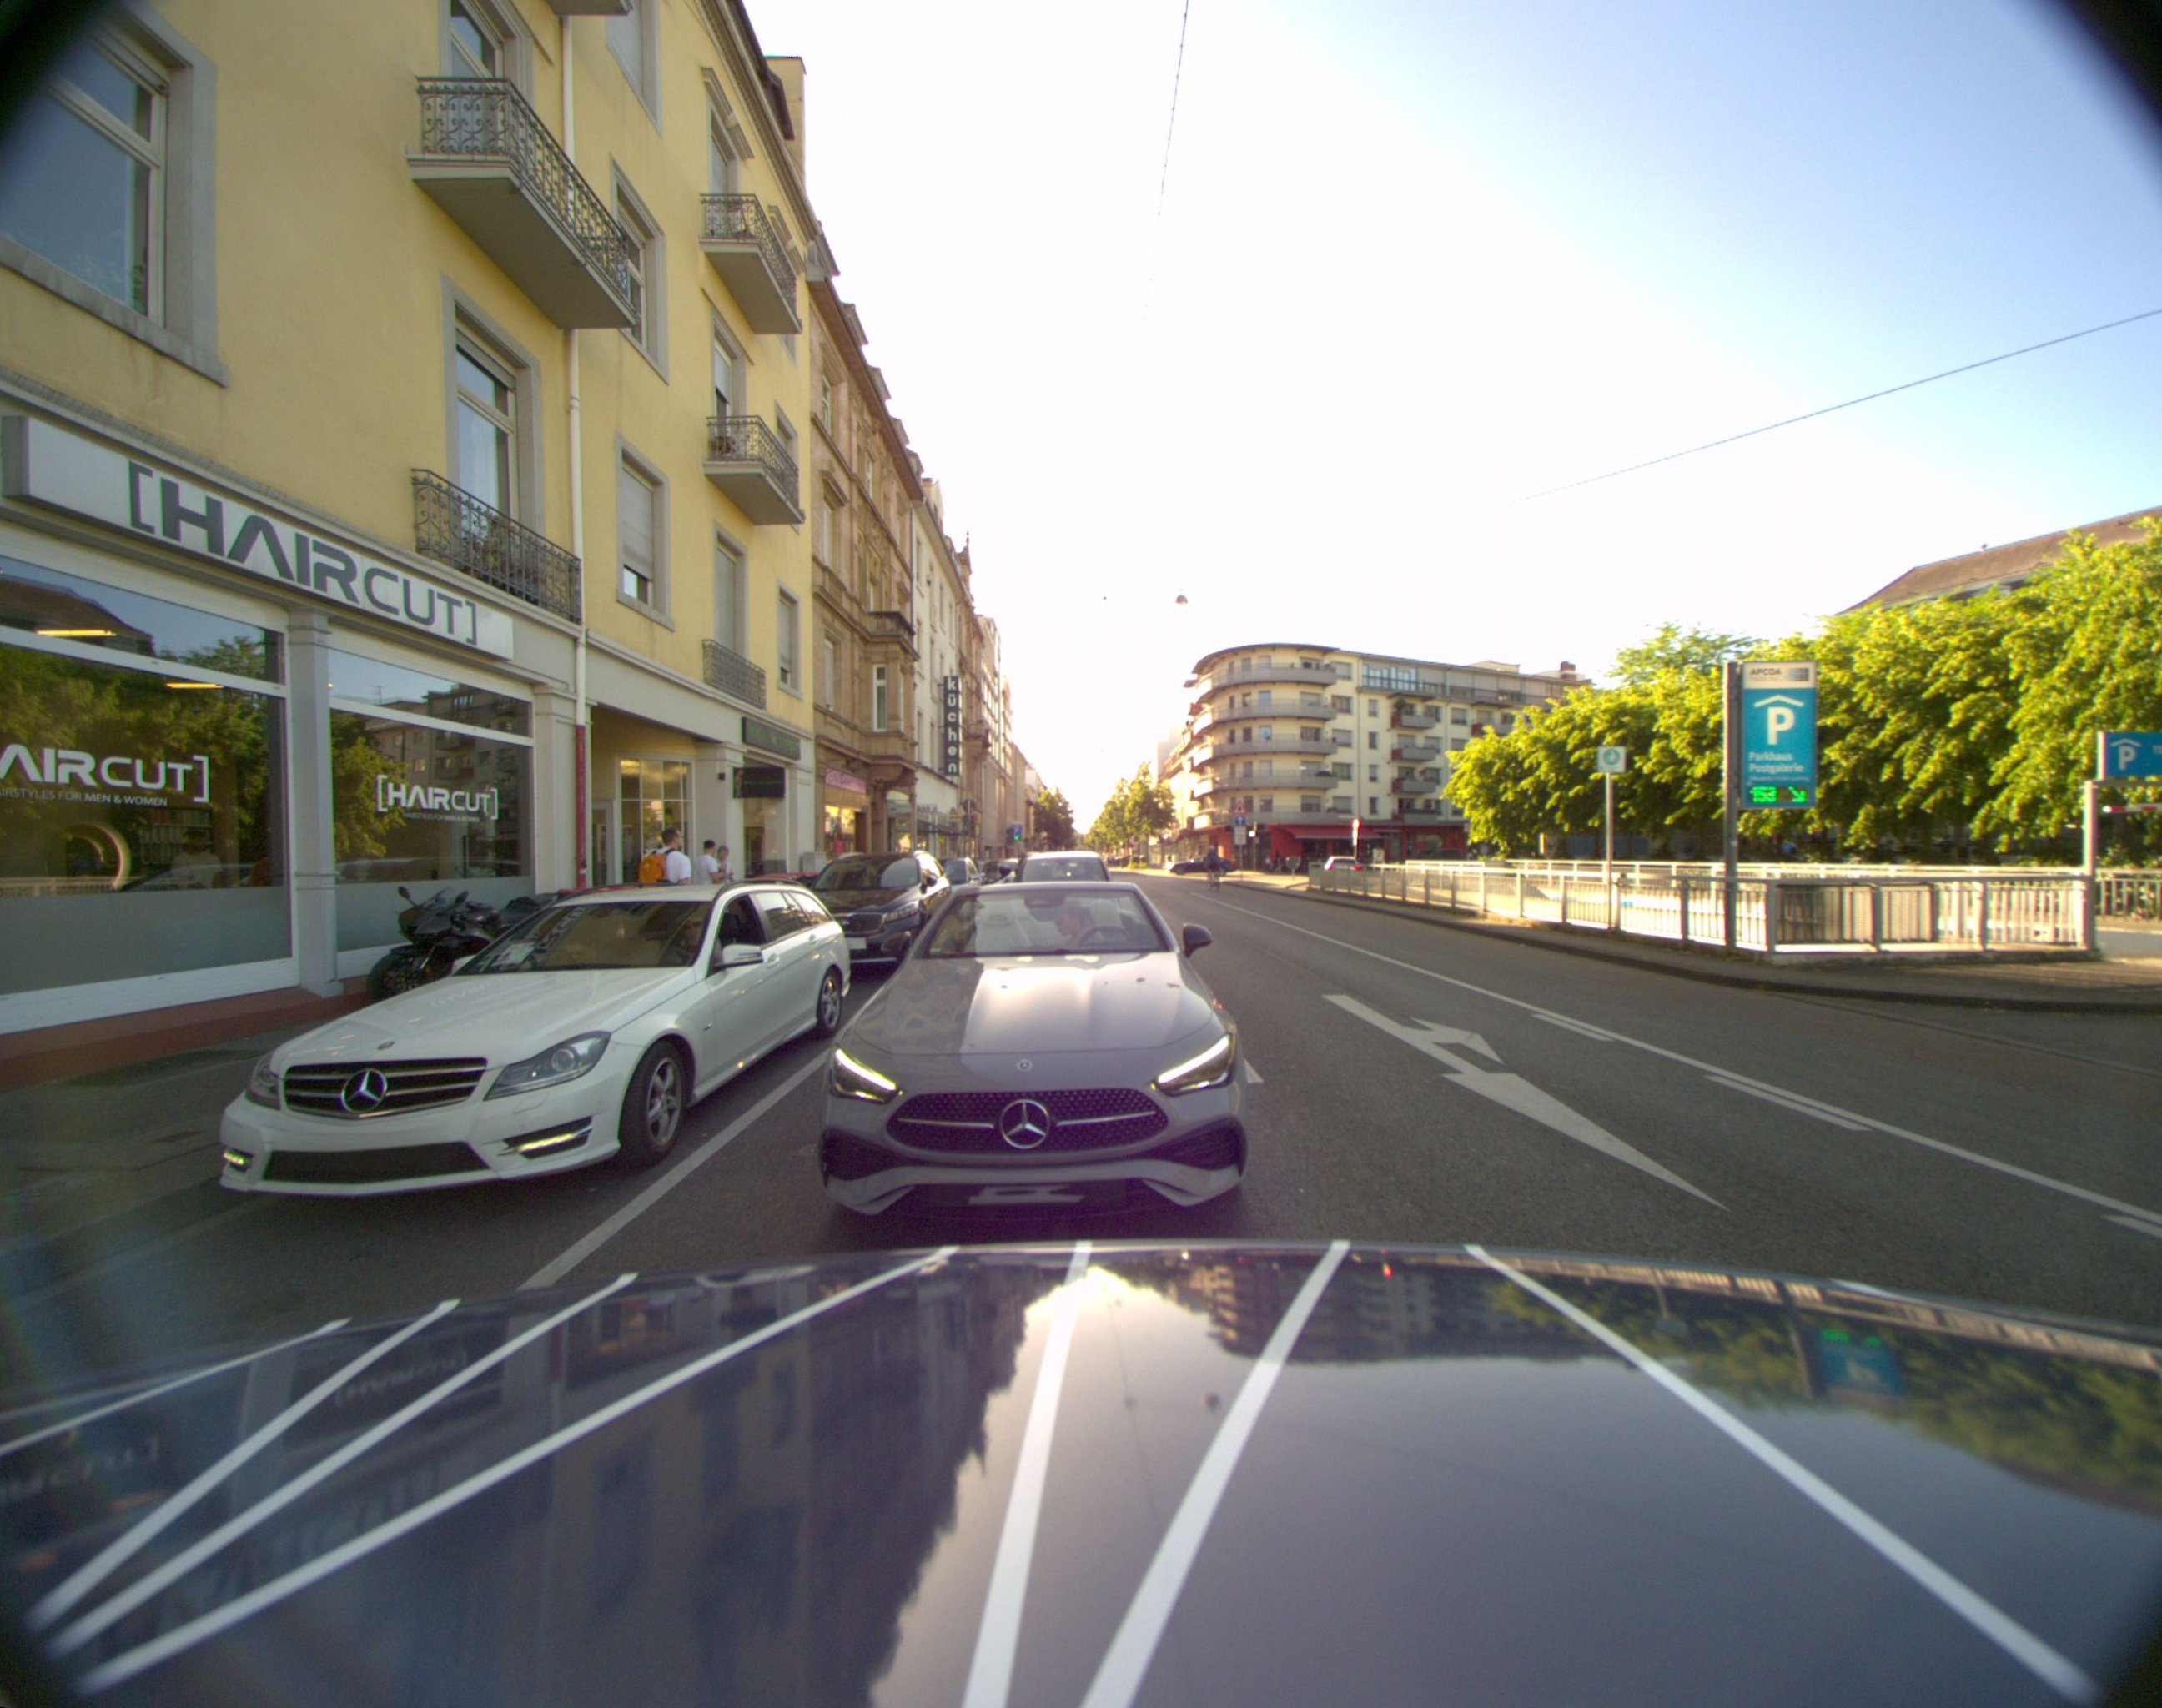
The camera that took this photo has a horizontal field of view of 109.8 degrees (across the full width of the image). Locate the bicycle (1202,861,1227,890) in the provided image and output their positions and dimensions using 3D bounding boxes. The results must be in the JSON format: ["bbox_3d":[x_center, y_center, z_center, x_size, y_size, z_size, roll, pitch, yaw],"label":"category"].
[{"bbox_3d":[5.635,0.897,32.201,0.618,1.156,1.956,1,1,-3],"label":"bicycle"}]

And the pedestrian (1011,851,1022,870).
[{"bbox_3d":[-6.019,0.634,71.028,0.826,1.750,0.823,-2,1,-1],"label":"pedestrian"}]

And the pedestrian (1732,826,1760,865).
[{"bbox_3d":[32.249,-0.399,36.830,0.748,1.852,0.683,-2,1,-13],"label":"pedestrian"}]

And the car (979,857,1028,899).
[{"bbox_3d":[-3.023,0.900,30.308,1.695,1.482,3.796,-2,1,-3],"label":"car"}]

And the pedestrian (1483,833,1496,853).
[{"bbox_3d":[38.369,-1.010,71.376,0.747,1.832,0.684,-2,1,1],"label":"pedestrian"}]

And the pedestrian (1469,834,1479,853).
[{"bbox_3d":[37.462,-0.986,72.420,0.745,1.832,0.685,-1,1,38],"label":"pedestrian"}]

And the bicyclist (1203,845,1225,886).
[{"bbox_3d":[5.630,0.483,32.219,0.703,1.700,0.809,0,1,-6],"label":"bicyclist"}]

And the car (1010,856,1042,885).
[{"bbox_3d":[-2.939,0.863,40.945,1.461,1.391,3.362,-2,1,-1],"label":"car"}]

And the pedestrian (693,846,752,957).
[{"bbox_3d":[-6.145,0.793,13.056,0.630,1.826,0.770,-2,1,-7],"label":"pedestrian"}]

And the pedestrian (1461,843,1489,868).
[{"bbox_3d":[27.263,0.076,52.616,1.273,1.656,1.138,-2,1,-12],"label":"pedestrian"}]

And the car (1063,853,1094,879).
[{"bbox_3d":[-0.194,0.712,47.503,1.695,1.437,3.575,-2,1,-3],"label":"car"}]

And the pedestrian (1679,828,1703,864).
[{"bbox_3d":[31.672,-0.437,39.441,0.748,1.832,0.683,-3,1,-21],"label":"pedestrian"}]

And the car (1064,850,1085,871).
[{"bbox_3d":[-0.618,0.549,65.960,1.695,1.635,3.599,-2,1,-1],"label":"car"}]

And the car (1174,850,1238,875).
[{"bbox_3d":[8.640,0.569,52.454,4.242,1.521,1.678,-2,1,14],"label":"car"}]

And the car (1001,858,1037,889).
[{"bbox_3d":[-2.951,0.897,36.677,1.461,1.310,3.363,-2,1,-1],"label":"car"}]

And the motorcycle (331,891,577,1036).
[{"bbox_3d":[-6.252,1.022,7.784,0.735,1.124,2.109,2,1,1],"label":"motorcycle"}]

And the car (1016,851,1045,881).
[{"bbox_3d":[-3.149,0.713,47.543,1.695,1.670,3.880,-2,1,-3],"label":"car"}]

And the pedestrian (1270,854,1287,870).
[{"bbox_3d":[15.432,0.648,59.376,0.937,1.191,0.832,-3,1,-24],"label":"pedestrian"}]

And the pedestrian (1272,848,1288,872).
[{"bbox_3d":[15.254,0.445,58.200,0.960,1.739,1.063,-2,1,26],"label":"pedestrian"}]

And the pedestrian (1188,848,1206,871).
[{"bbox_3d":[9.238,0.428,60.575,1.067,1.709,1.082,-2,1,25],"label":"pedestrian"}]

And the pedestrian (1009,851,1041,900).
[{"bbox_3d":[-2.038,0.768,27.546,0.836,1.709,0.821,-2,1,19],"label":"pedestrian"}]

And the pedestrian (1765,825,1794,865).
[{"bbox_3d":[33.463,-0.431,36.395,0.748,1.832,0.683,-2,1,-13],"label":"pedestrian"}]

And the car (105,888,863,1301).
[{"bbox_3d":[-3.023,1.071,5.242,1.672,1.364,4.377,-2,1,1],"label":"car"}]

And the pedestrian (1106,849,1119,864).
[{"bbox_3d":[3.974,0.340,95.476,1.219,1.826,1.205,-2,1,23],"label":"pedestrian"}]

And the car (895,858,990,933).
[{"bbox_3d":[-3.178,0.903,17.985,1.583,1.514,2.998,-2,1,1],"label":"car"}]

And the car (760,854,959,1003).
[{"bbox_3d":[-3.010,0.888,11.334,1.806,1.680,4.408,-2,1,-3],"label":"car"}]

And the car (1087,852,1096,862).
[{"bbox_3d":[2.182,0.628,158.644,1.836,1.831,3.886,1,1,-2],"label":"car"}]

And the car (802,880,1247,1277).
[{"bbox_3d":[-0.278,0.995,5.354,1.769,1.360,4.471,-2,1,-2],"label":"car"}]

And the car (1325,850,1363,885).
[{"bbox_3d":[13.071,0.640,37.880,1.635,1.521,3.912,-2,1,18],"label":"car"}]

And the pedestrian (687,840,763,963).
[{"bbox_3d":[-5.672,0.728,12.103,0.975,1.866,0.534,-3,1,-31],"label":"pedestrian"}]

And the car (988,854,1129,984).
[{"bbox_3d":[-0.362,0.892,12.753,1.866,1.658,4.706,-2,1,-2],"label":"car"}]

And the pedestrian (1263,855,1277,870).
[{"bbox_3d":[14.926,0.660,60.034,0.780,1.191,0.884,-2,1,-10],"label":"pedestrian"}]

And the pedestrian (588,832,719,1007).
[{"bbox_3d":[-4.668,0.675,8.373,0.810,1.812,0.982,-1,1,4],"label":"pedestrian"}]

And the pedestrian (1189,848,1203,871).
[{"bbox_3d":[9.794,0.445,64.800,0.990,1.908,0.790,-2,1,-3],"label":"pedestrian"}]
